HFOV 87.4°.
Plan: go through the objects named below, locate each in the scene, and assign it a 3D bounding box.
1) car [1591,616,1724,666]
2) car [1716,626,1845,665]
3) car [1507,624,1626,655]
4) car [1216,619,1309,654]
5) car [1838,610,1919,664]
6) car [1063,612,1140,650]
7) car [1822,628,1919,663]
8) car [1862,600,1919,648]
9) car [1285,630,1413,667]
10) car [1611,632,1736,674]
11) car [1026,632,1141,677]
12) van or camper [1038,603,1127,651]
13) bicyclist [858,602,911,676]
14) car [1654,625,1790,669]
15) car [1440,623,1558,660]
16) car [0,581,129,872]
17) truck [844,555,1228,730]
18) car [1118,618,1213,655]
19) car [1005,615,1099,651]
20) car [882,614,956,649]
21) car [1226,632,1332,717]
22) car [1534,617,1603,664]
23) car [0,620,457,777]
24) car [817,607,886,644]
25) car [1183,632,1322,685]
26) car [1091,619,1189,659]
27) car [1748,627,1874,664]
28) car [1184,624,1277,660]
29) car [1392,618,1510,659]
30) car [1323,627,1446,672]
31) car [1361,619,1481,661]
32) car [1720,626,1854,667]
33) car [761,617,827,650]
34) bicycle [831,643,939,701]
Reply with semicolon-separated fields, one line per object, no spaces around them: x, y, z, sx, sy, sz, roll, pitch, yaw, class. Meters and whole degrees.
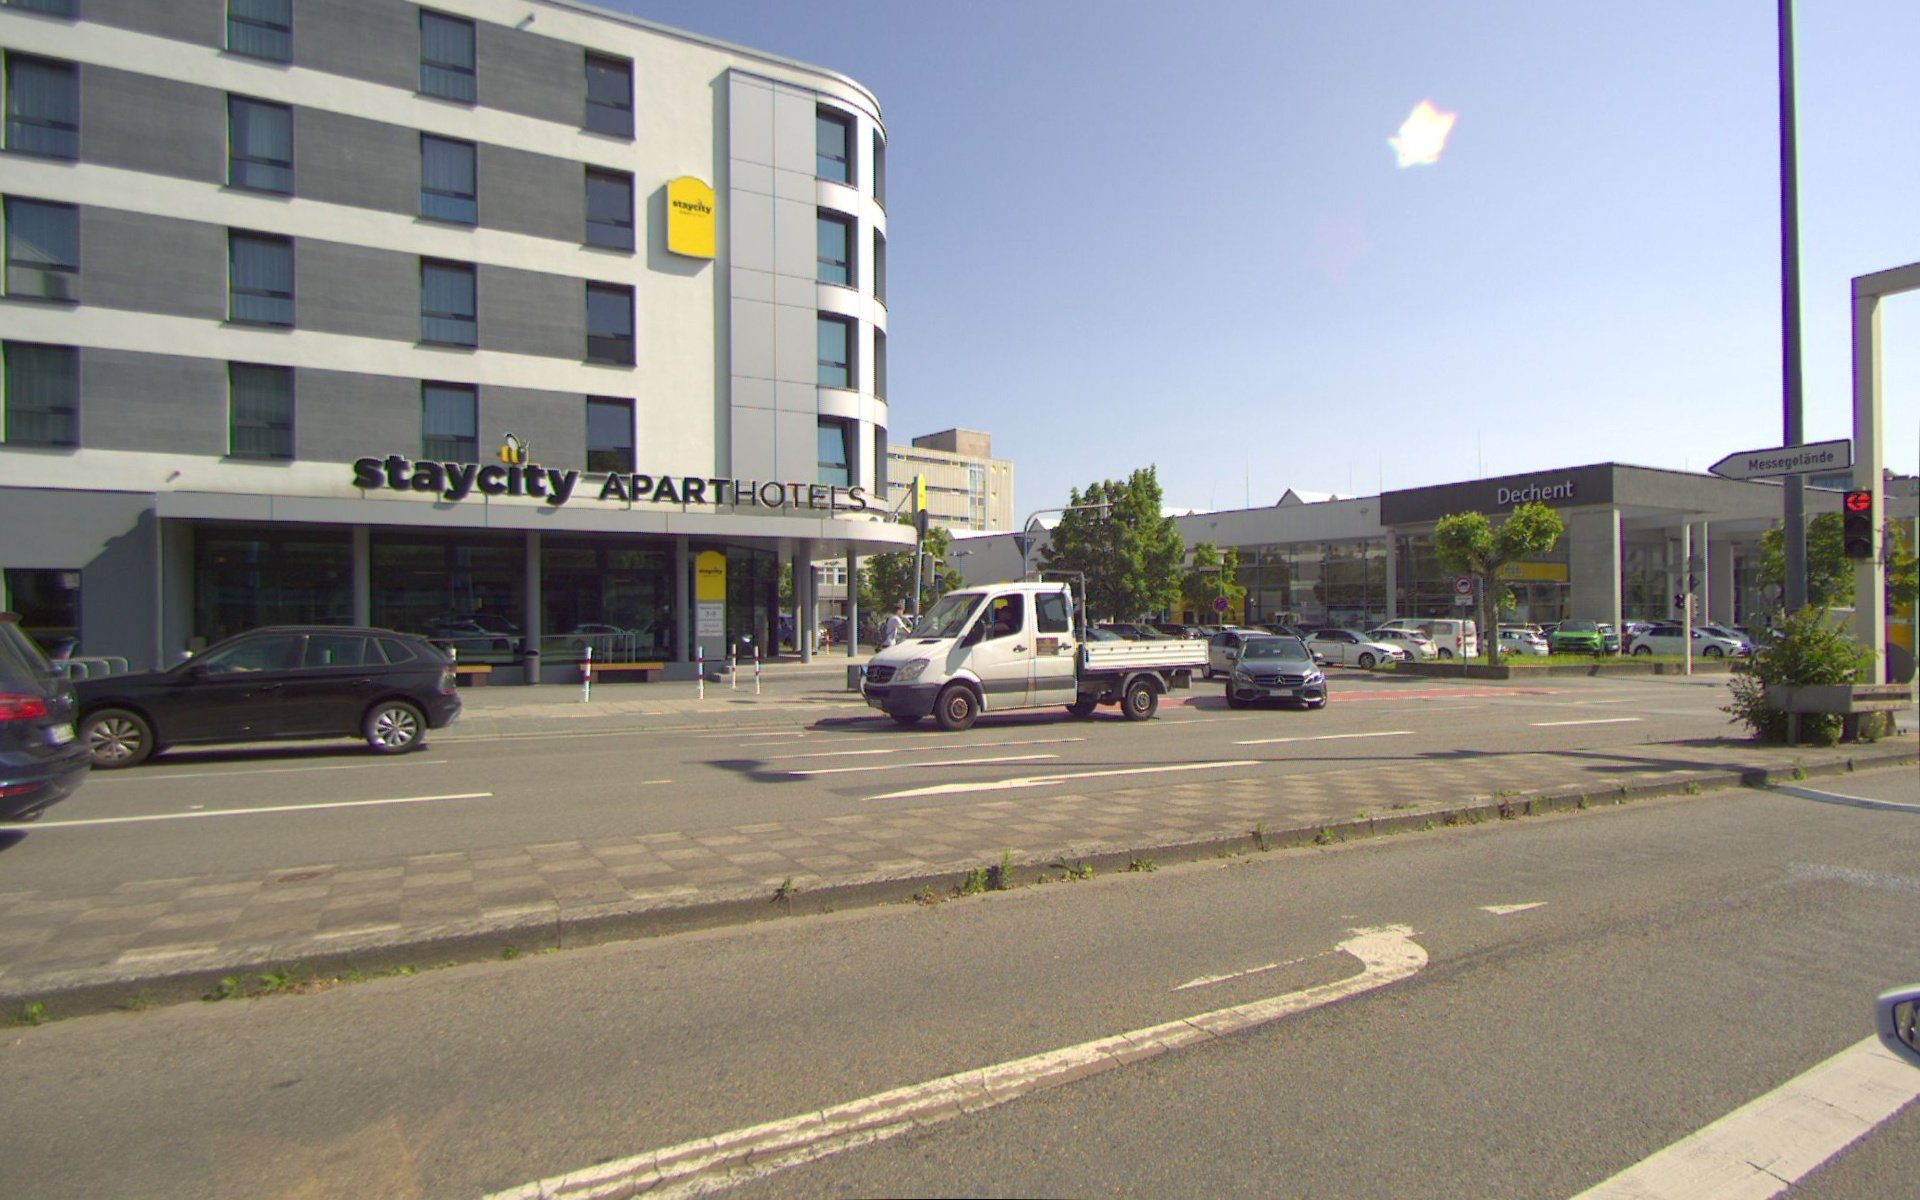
27.354;1.574;39.494;1.978;1.862;3.849;1;-2;-32;car
38.869;2.131;47.683;1.978;1.719;4.333;1;-2;-32;car
27.868;1.835;46.267;1.982;1.284;4.325;4;-4;-37;car
15.814;1.881;52.694;1.982;1.719;4.324;1;-2;-37;car
49.090;1.933;52.394;2.096;2.720;4.490;1;-1;-21;car
7.758;1.695;55.303;1.983;2.040;3.956;1;-2;-38;car
47.019;2.288;51.127;1.973;1.719;4.345;1;-1;-24;car
53.239;1.348;55.756;1.973;2.635;4.345;1;-1;-24;car
15.080;1.838;39.122;1.980;1.317;4.328;1;-2;-35;car
30.240;2.212;42.655;1.981;1.620;3.959;1;-2;-36;car
4.596;1.995;37.830;1.979;1.466;4.331;2;-1;-33;car
6.406;1.418;52.999;1.983;2.432;4.678;1;-2;-38;van or camper
-1.551;0.800;20.542;1.009;1.479;0.769;1;-1;-11;bicyclist
32.853;1.973;43.407;1.978;1.789;4.274;1;-2;-32;car
24.554;1.870;45.880;1.982;1.612;4.325;1;-2;-37;car
-7.371;0.690;5.500;4.090;1.639;1.875;1;-1;-33;car
1.384;0.756;17.340;6.355;2.578;2.349;1;-3;-28;truck
9.847;1.734;48.374;1.980;1.719;4.328;1;-2;-35;car
4.567;1.624;50.245;4.304;1.719;1.991;-1;-2;39;car
-2.446;1.831;58.957;1.971;1.815;4.376;2;0;-42;car
6.797;1.480;21.453;1.923;1.446;4.586;1;0;18;car
23.996;1.608;39.718;1.870;1.756;3.293;0;-3;23;car
-8.525;1.066;12.047;4.360;1.598;1.984;1;-2;-30;car
-6.886;1.613;63.525;1.985;2.158;4.565;2;0;-42;car
8.722;1.703;30.244;1.757;1.457;3.883;1;-2;-31;car
8.230;1.755;46.189;1.980;1.719;4.328;1;-2;-35;car
41.580;2.182;49.182;1.978;1.719;4.333;1;-2;-32;car
13.799;2.120;51.438;1.980;1.719;4.328;1;-2;-35;car
21.856;1.690;44.811;1.982;1.719;4.323;1;-2;-38;car
17.422;1.987;41.383;1.980;1.719;4.328;1;-2;-35;car
19.837;1.702;43.333;1.982;1.719;4.323;1;-2;-38;car
37.441;2.076;45.595;1.978;1.719;4.333;1;-1;-32;car
-9.118;1.840;55.058;1.981;1.611;3.958;2;0;-37;car
-1.538;1.451;20.530;2.124;1.131;0.769;1;-1;-12;bicycle
